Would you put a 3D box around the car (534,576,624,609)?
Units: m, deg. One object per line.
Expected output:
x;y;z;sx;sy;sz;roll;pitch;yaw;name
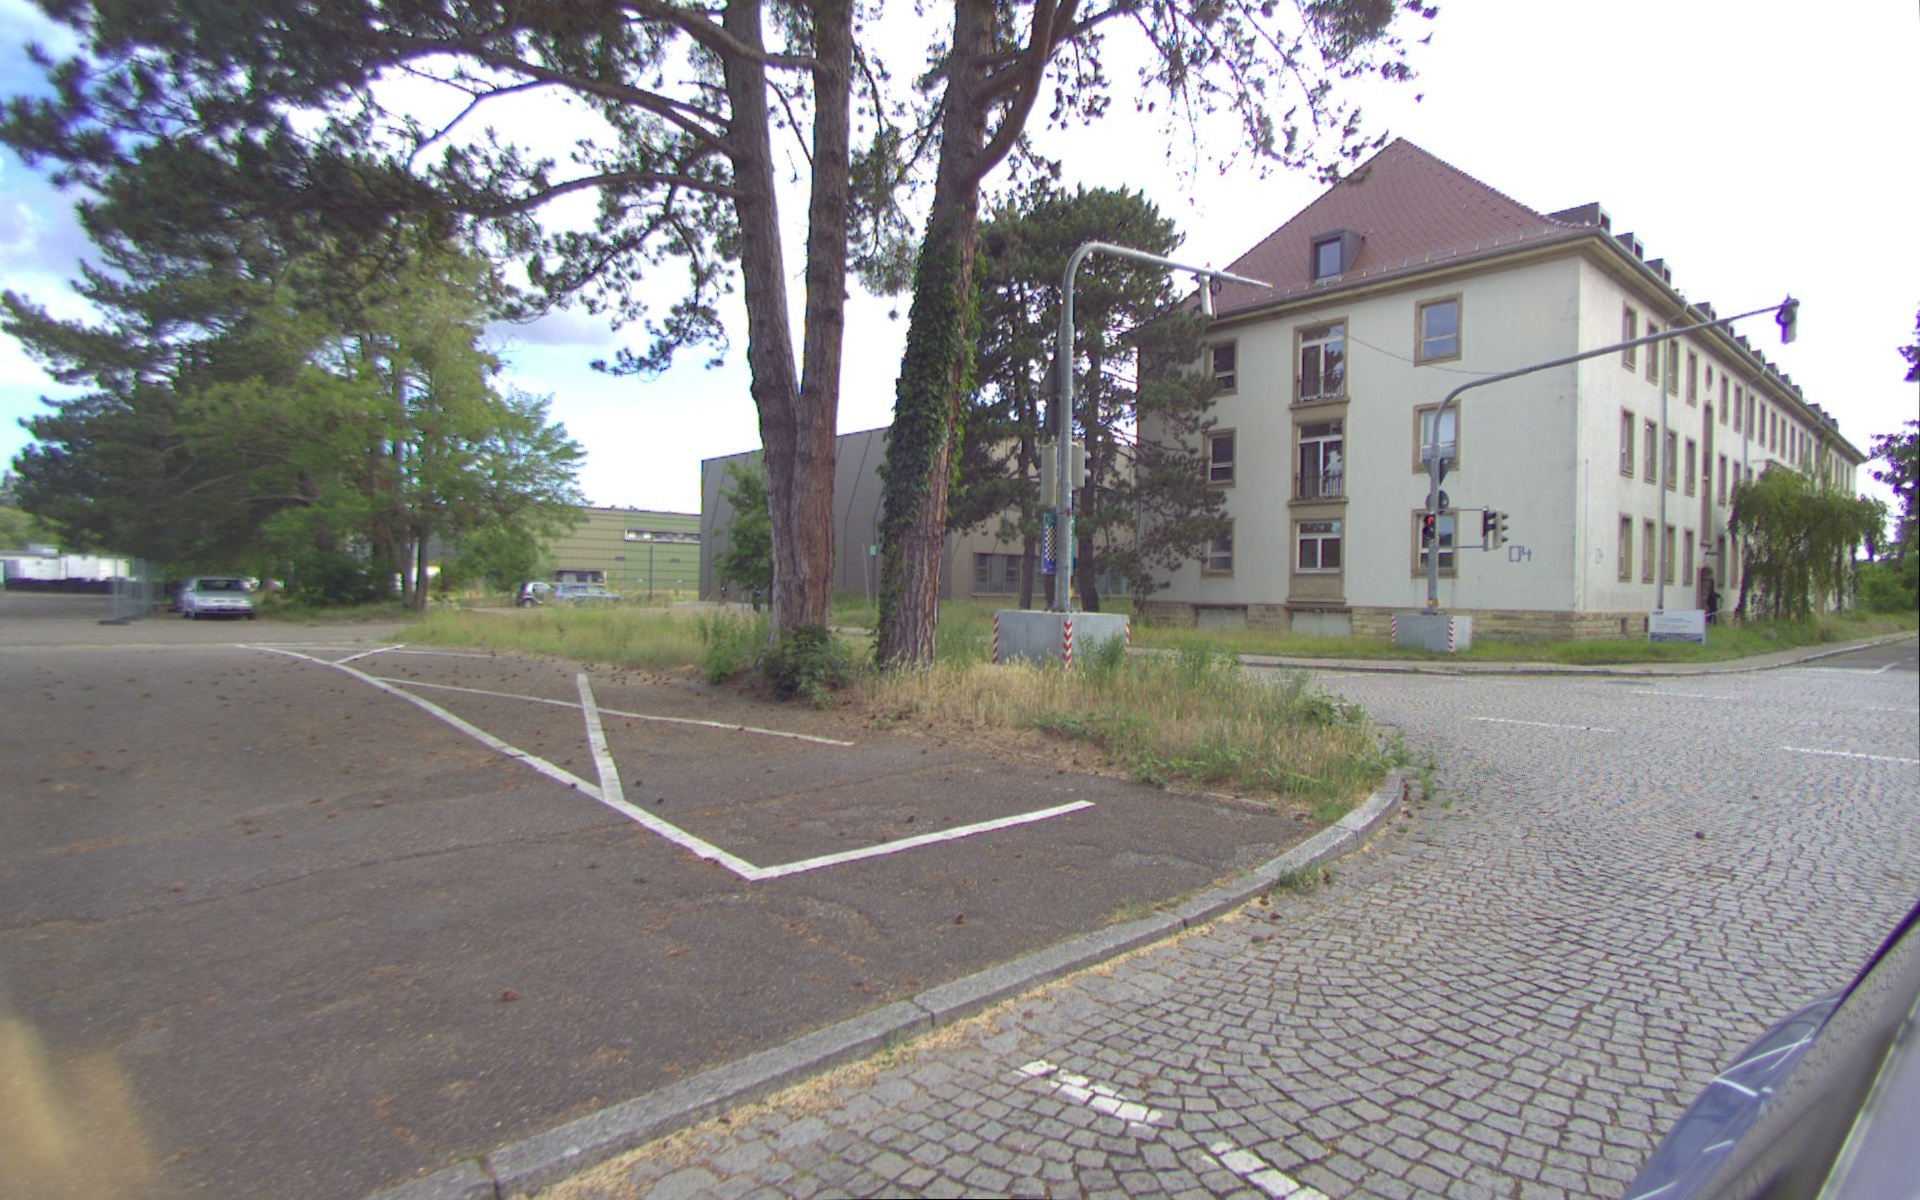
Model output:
-21.692;-0.419;57.730;4.401;1.854;1.996;0;1;-43;car

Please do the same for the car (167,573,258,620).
-25.454;-0.160;34.409;1.940;1.501;3.989;1;1;-45;car

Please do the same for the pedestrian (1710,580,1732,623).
30.848;0.053;41.010;0.522;1.722;0.568;1;0;-39;pedestrian
